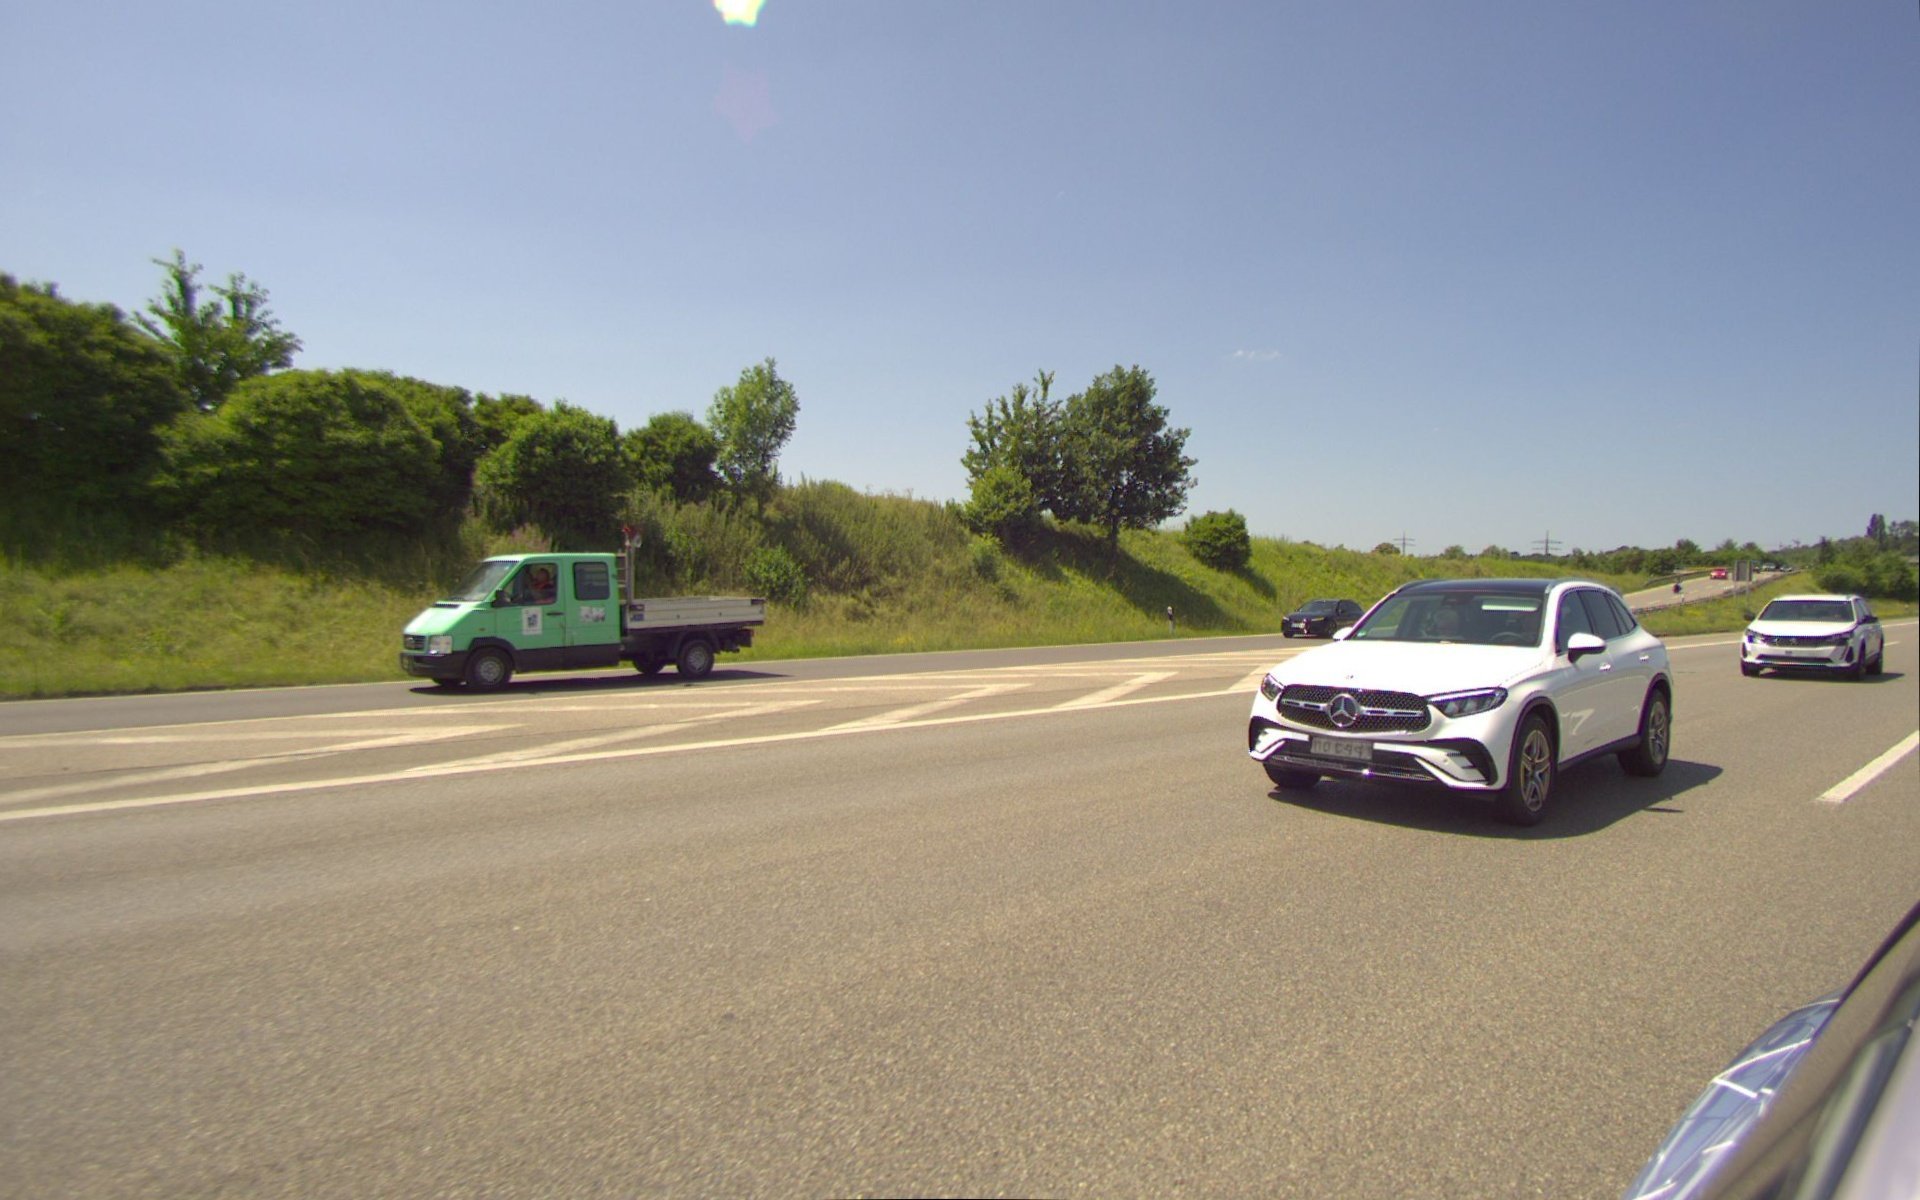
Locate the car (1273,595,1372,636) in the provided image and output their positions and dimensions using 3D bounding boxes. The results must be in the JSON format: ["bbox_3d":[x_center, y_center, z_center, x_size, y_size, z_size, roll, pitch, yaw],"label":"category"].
[{"bbox_3d":[13.469,0.539,37.473,1.993,1.400,4.231,1,1,42],"label":"car"}]

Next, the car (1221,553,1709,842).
[{"bbox_3d":[4.226,0.535,8.094,4.556,1.676,1.908,-1,0,-41],"label":"car"}]

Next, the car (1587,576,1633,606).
[{"bbox_3d":[46.791,-0.652,72.835,3.935,2.039,1.994,-2,1,-45],"label":"car"}]

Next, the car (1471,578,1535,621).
[{"bbox_3d":[29.496,-0.054,54.932,1.992,2.199,4.820,1,1,42],"label":"car"}]

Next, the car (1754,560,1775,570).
[{"bbox_3d":[129.449,-5.636,162.754,4.540,1.650,1.980,-2,1,-43],"label":"car"}]

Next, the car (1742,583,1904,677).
[{"bbox_3d":[17.465,0.515,20.409,4.538,1.650,1.896,-2,1,-42],"label":"car"}]

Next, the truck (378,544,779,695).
[{"bbox_3d":[-6.181,0.227,17.122,2.165,2.118,6.020,1,1,45],"label":"truck"}]
